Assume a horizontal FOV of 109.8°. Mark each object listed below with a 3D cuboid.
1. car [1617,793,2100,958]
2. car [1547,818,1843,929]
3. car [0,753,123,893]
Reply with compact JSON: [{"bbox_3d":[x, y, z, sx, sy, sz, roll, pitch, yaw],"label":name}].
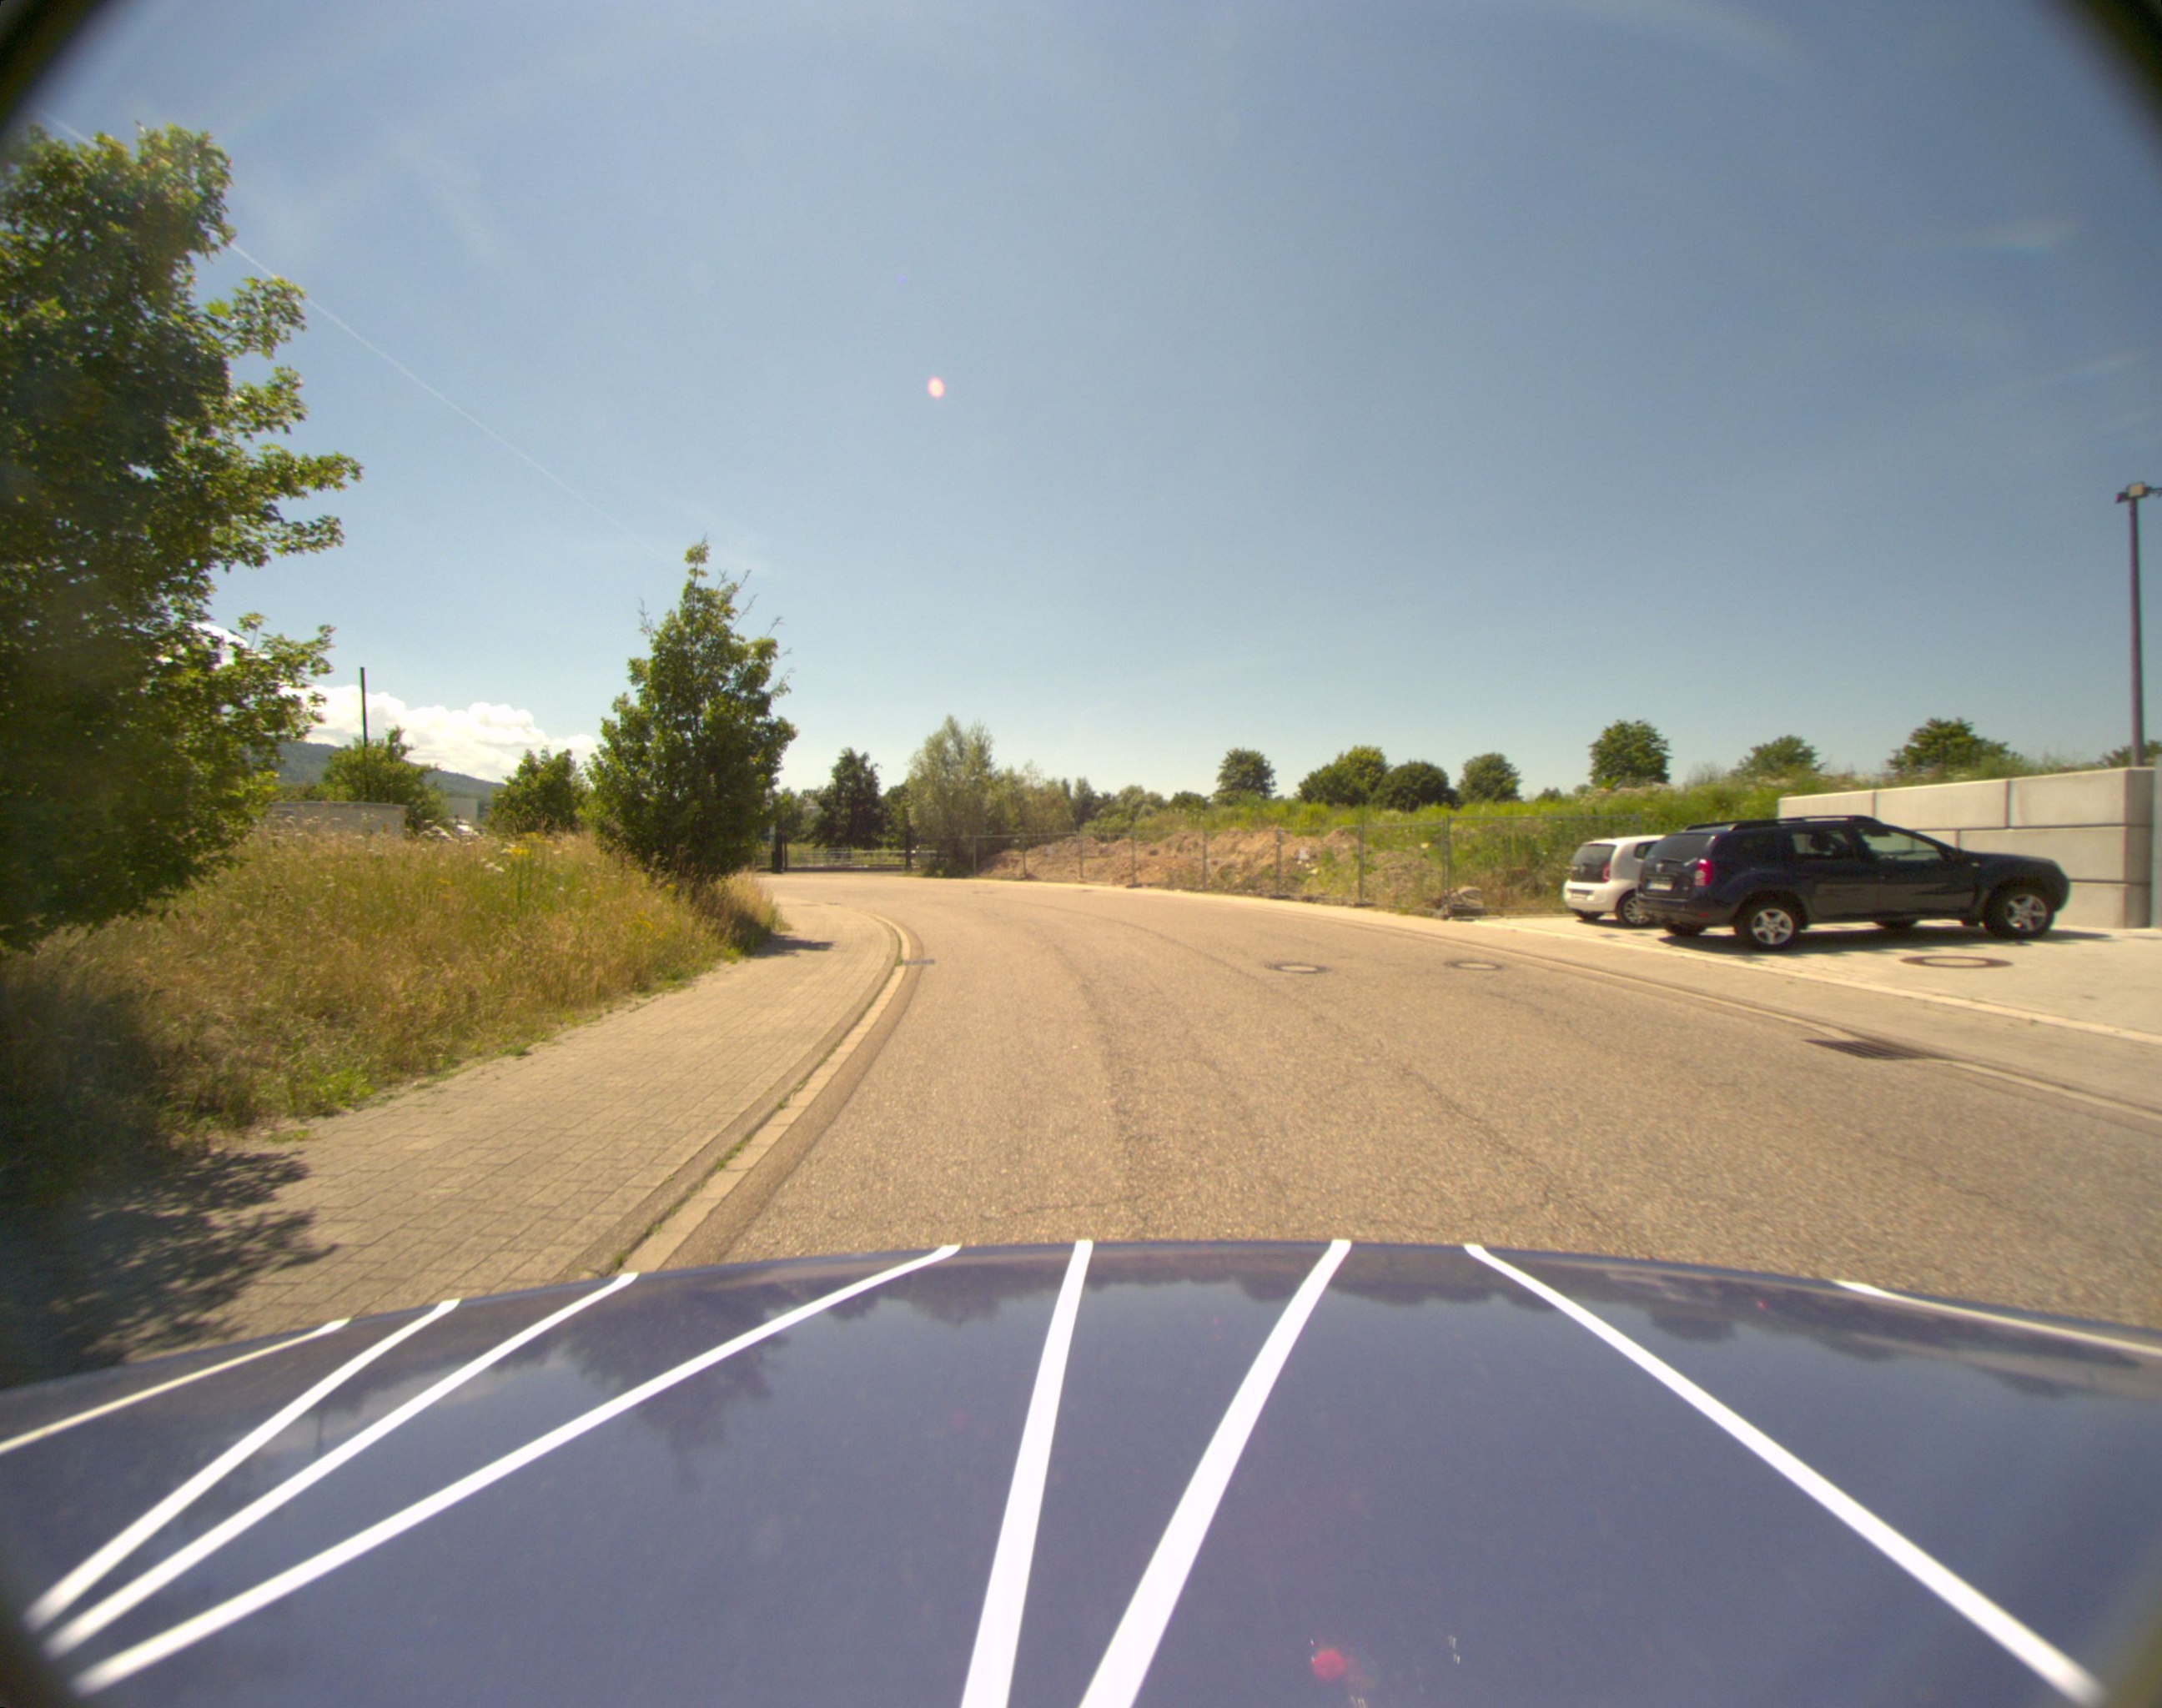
[{"bbox_3d":[9.924,0.275,10.062,4.170,1.649,1.782,-5,1,9],"label":"car"},{"bbox_3d":[10.124,0.304,12.787,3.367,1.453,1.782,-5,1,7],"label":"car"},{"bbox_3d":[-22.322,-0.589,14.352,1.996,2.728,4.755,0,2,13],"label":"car"}]
